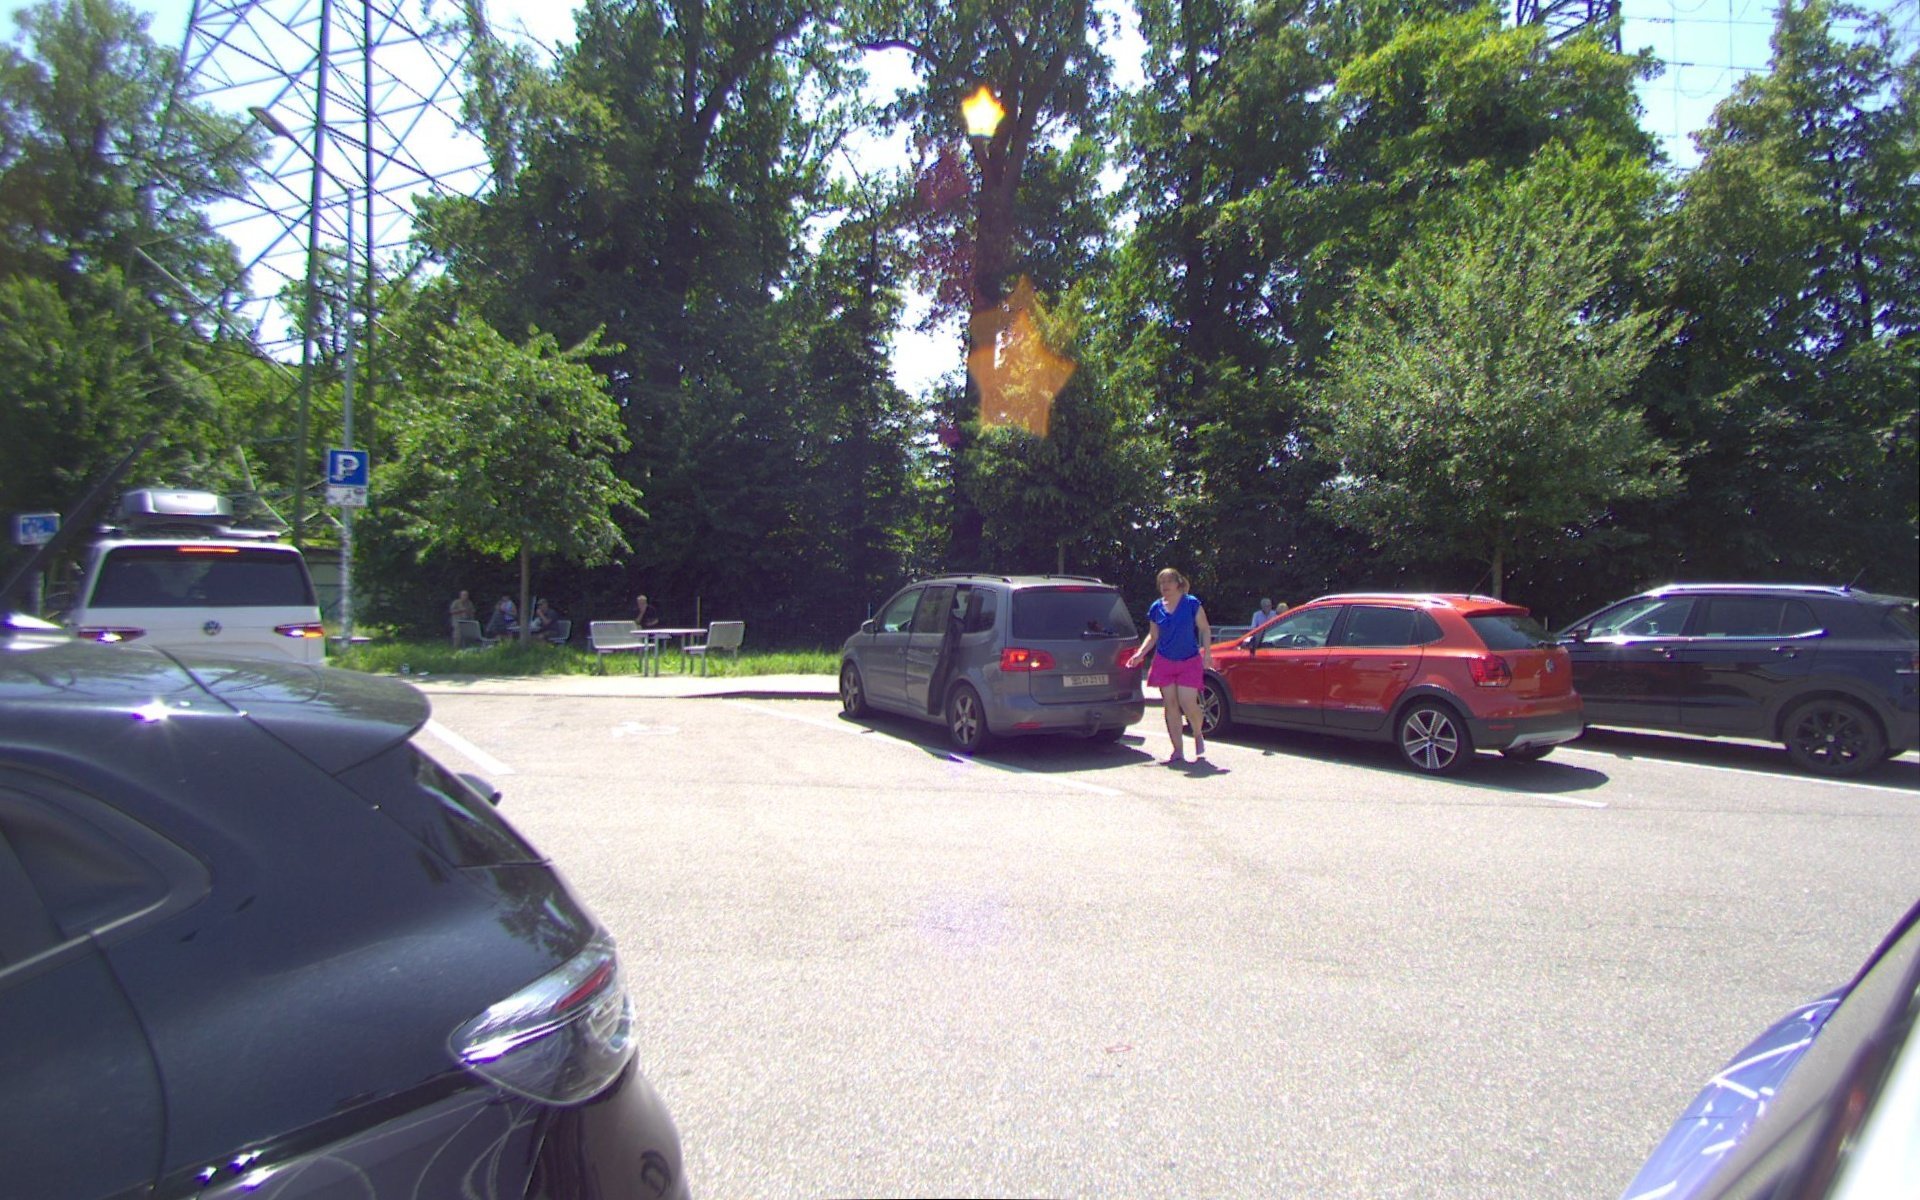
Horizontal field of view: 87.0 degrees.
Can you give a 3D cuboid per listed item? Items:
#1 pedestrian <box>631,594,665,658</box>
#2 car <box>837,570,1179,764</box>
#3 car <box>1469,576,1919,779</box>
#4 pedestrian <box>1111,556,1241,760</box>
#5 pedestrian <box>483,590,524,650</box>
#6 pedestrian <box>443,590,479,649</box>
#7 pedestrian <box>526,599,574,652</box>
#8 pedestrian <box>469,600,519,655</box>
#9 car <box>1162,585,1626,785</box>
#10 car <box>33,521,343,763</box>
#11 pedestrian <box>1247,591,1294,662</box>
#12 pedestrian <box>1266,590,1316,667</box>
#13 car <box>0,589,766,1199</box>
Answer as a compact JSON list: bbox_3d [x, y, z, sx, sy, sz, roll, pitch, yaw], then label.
[{"bbox_3d":[-6.550,0.528,21.279,0.655,1.311,0.786,0,0,-16],"label":"pedestrian"},{"bbox_3d":[0.272,0.520,10.523,1.713,1.601,3.996,0,1,-29],"label":"car"},{"bbox_3d":[7.199,0.576,9.712,1.690,1.593,3.787,0,1,-39],"label":"car"},{"bbox_3d":[1.929,0.481,9.034,0.914,1.703,0.724,0,0,36],"label":"pedestrian"},{"bbox_3d":[-11.043,0.467,24.469,0.664,1.422,0.643,0,0,32],"label":"pedestrian"},{"bbox_3d":[-12.261,0.472,24.874,0.657,1.422,0.649,0,0,-39],"label":"pedestrian"},{"bbox_3d":[-9.580,0.583,23.632,0.873,1.192,0.668,0,0,-41],"label":"pedestrian"},{"bbox_3d":[-10.496,0.596,22.778,0.873,1.192,0.668,0,0,-41],"label":"pedestrian"},{"bbox_3d":[3.873,0.611,9.653,1.687,1.484,3.793,0,1,-32],"label":"car"},{"bbox_3d":[-8.056,0.296,10.380,4.549,1.936,1.882,1,1,44],"label":"car"},{"bbox_3d":[5.806,0.479,18.974,0.657,1.311,0.783,0,0,3],"label":"pedestrian"},{"bbox_3d":[5.801,0.490,17.766,0.657,1.311,0.783,0,0,3],"label":"pedestrian"},{"bbox_3d":[-2.185,0.721,0.605,1.737,1.501,3.757,0,-1,44],"label":"car"}]
